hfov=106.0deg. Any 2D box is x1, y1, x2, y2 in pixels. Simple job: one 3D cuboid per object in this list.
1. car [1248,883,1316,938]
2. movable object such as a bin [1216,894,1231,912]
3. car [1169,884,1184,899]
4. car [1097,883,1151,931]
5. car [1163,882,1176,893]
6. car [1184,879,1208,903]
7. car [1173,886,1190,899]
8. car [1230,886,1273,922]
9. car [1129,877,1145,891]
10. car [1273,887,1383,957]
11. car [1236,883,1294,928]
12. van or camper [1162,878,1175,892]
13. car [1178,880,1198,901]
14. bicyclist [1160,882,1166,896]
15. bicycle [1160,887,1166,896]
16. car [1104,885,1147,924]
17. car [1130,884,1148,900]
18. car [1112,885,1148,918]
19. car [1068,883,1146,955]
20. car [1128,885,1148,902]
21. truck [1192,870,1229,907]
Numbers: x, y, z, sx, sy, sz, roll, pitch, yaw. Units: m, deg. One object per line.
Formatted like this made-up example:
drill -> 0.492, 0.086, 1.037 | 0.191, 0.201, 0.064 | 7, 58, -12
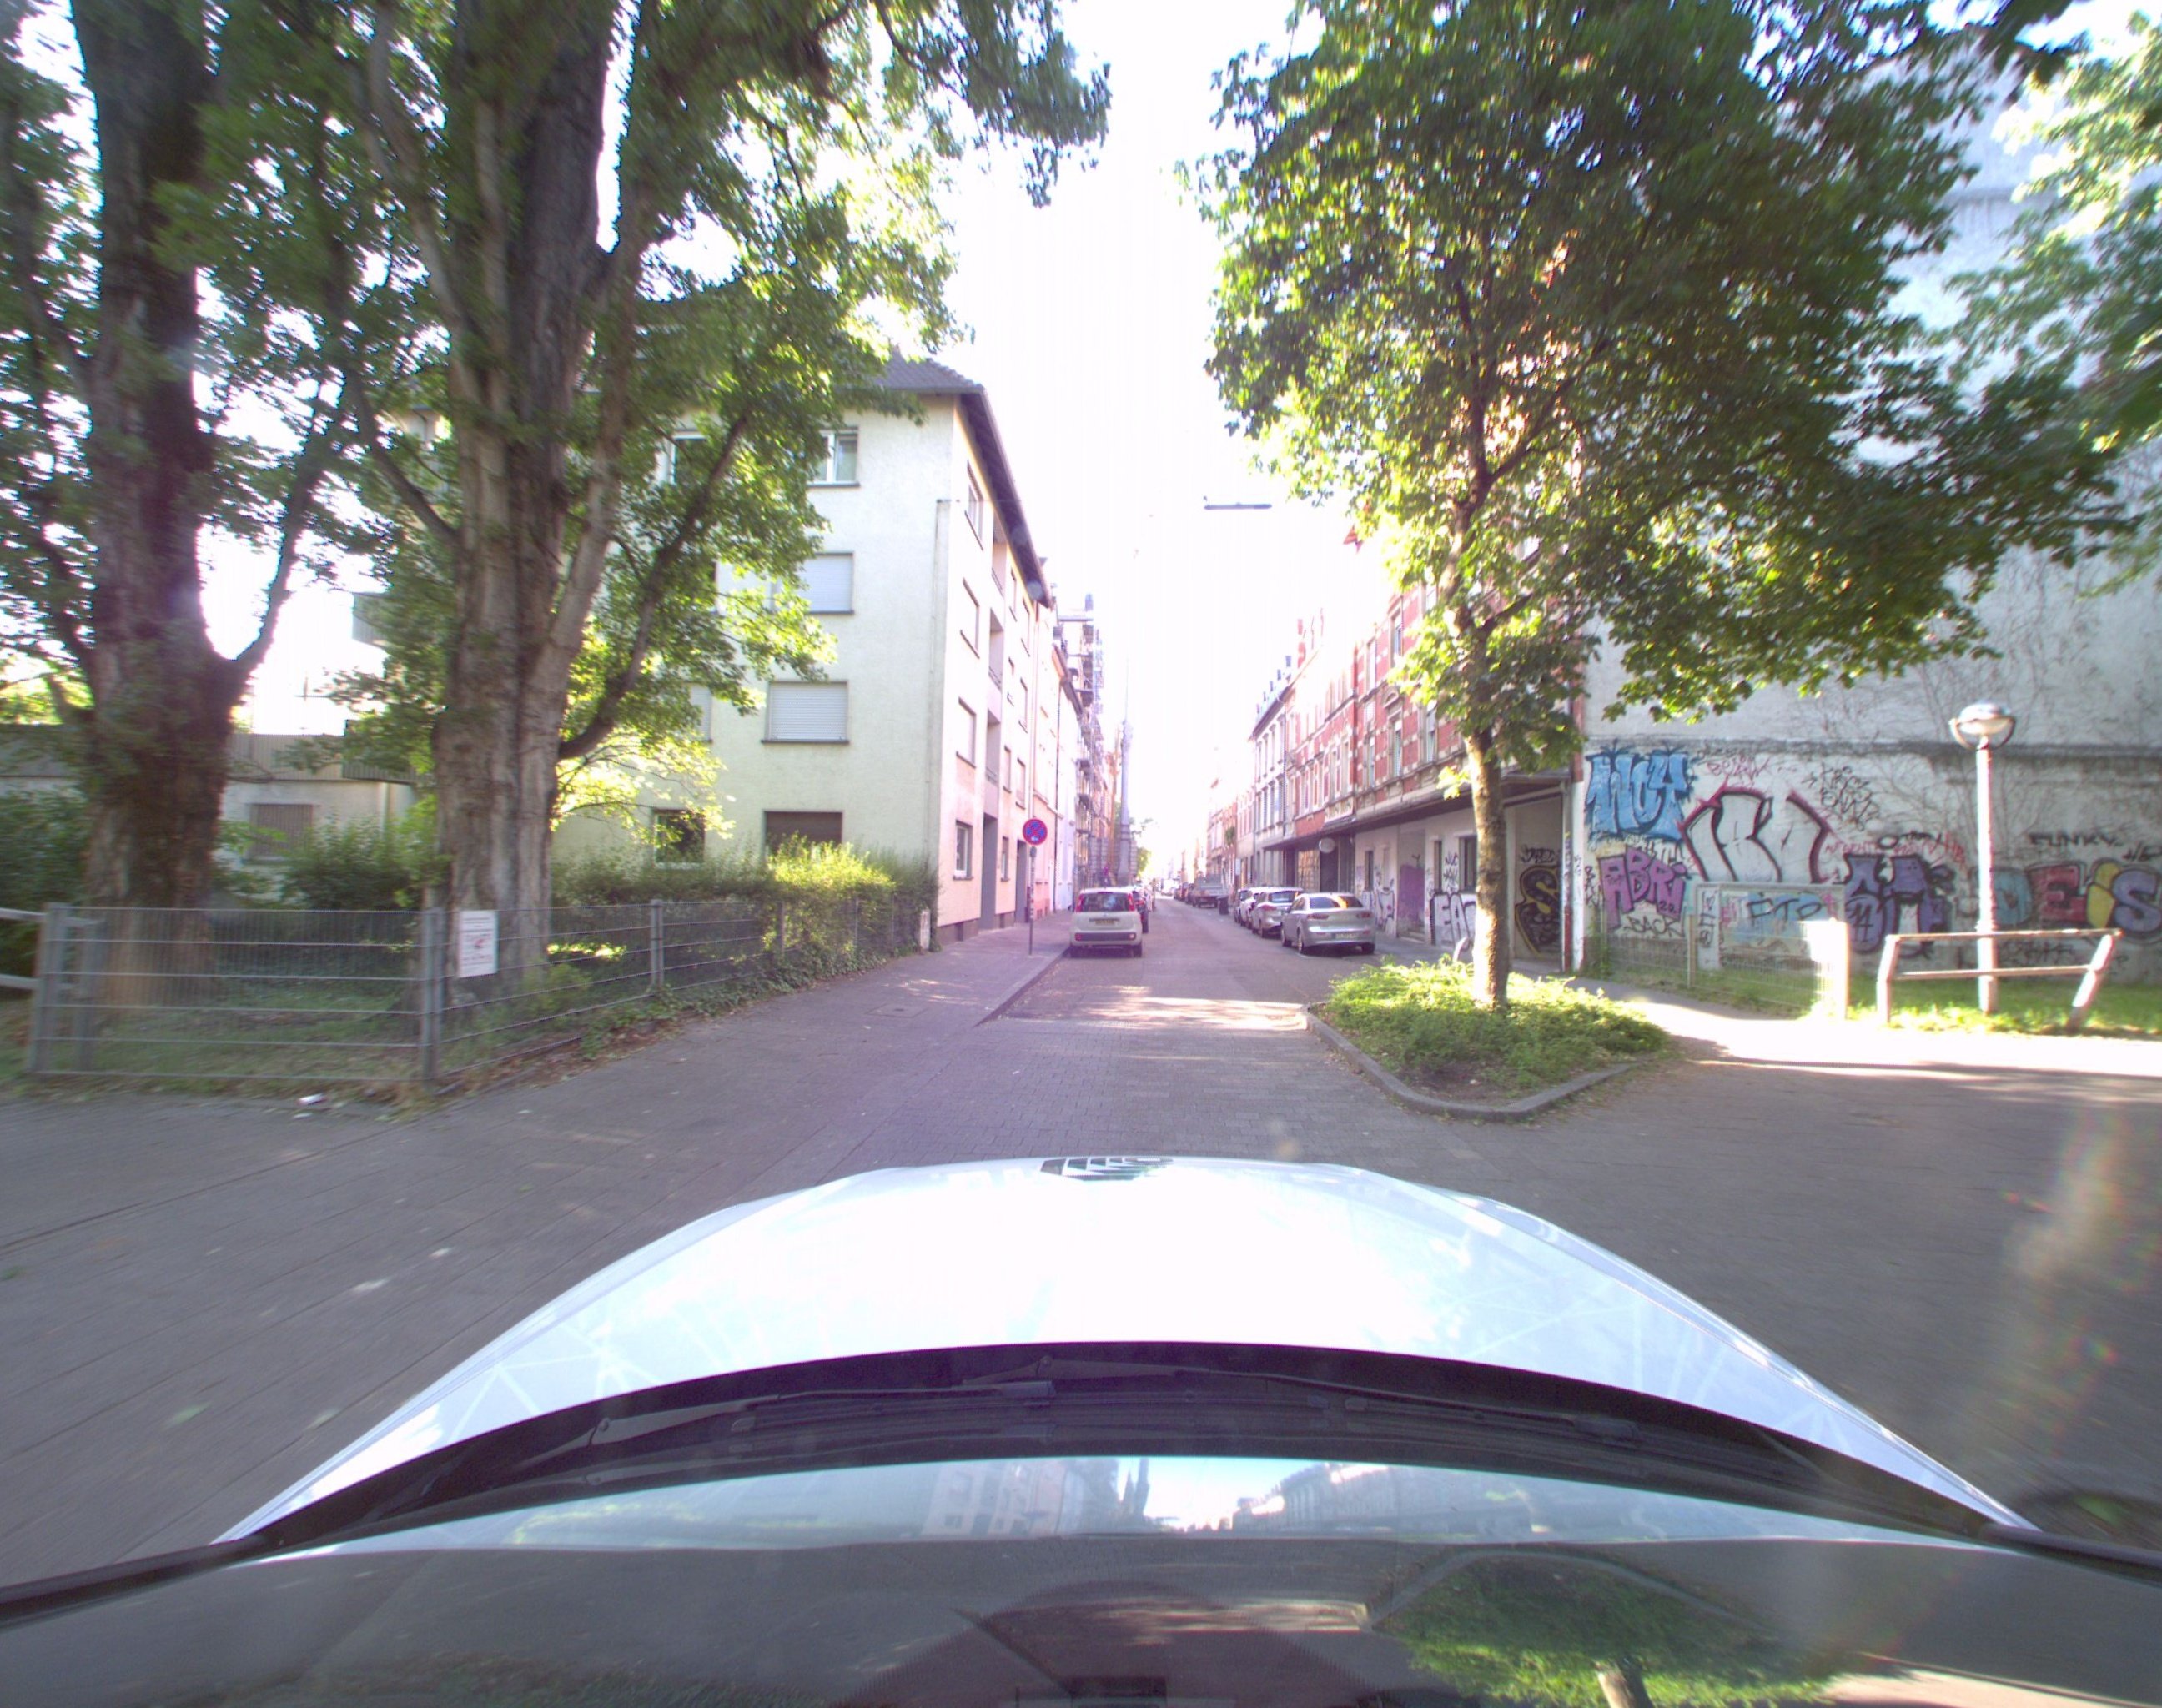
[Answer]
car -> 6.604, 1.818, 27.065 | 1.632, 1.656, 3.874 | 1, -2, 5
movable object such as a bin -> 8.304, 2.858, 47.633 | 0.791, 1.056, 0.660 | 1, -2, 4
car -> 14.082, 5.545, 120.733 | 1.985, 2.014, 4.003 | 1, -2, 3
car -> 1.476, 1.781, 28.303 | 1.722, 1.540, 4.379 | 0, -2, 2
car -> 14.559, 5.558, 134.591 | 1.985, 1.849, 4.002 | 0, -2, 3
car -> 9.912, 3.210, 70.365 | 1.668, 1.963, 4.110 | 1, -2, 2
car -> 11.896, 4.547, 96.260 | 1.668, 1.571, 3.870 | 1, -2, 2
car -> 7.866, 2.264, 37.882 | 1.589, 1.560, 3.819 | 1, -2, 6
car -> 6.267, 3.360, 91.324 | 1.668, 1.571, 3.870 | 1, -2, 2
car -> 6.186, 1.643, 20.905 | 1.714, 1.562, 4.401 | 1, -2, 3
car -> 7.330, 2.025, 32.757 | 1.738, 1.676, 4.346 | 1, -2, 5
van or camper -> 15.949, 5.714, 149.212 | 1.987, 2.509, 4.201 | 0, -2, 0
car -> 10.889, 3.726, 82.823 | 1.668, 2.031, 3.870 | 1, -2, 2
bicyclist -> 10.983, 4.688, 109.237 | 0.727, 1.761, 0.836 | 2, -2, 5
bicycle -> 10.966, 5.005, 109.171 | 0.721, 1.186, 2.045 | 2, -1, 5
car -> 1.932, 2.068, 34.220 | 1.667, 1.512, 4.418 | 1, -2, 4
car -> 5.732, 3.772, 81.127 | 1.668, 1.445, 3.870 | 1, -2, 2
car -> 2.438, 2.284, 39.929 | 1.667, 1.477, 4.612 | 1, -2, 4
car -> 0.634, 1.489, 19.508 | 1.668, 1.540, 3.870 | 0, -2, 2
car -> 5.021, 3.454, 72.336 | 1.668, 1.445, 3.870 | 1, -2, 2
truck -> 9.457, 2.501, 59.880 | 2.180, 2.607, 5.237 | 0, -2, 3
